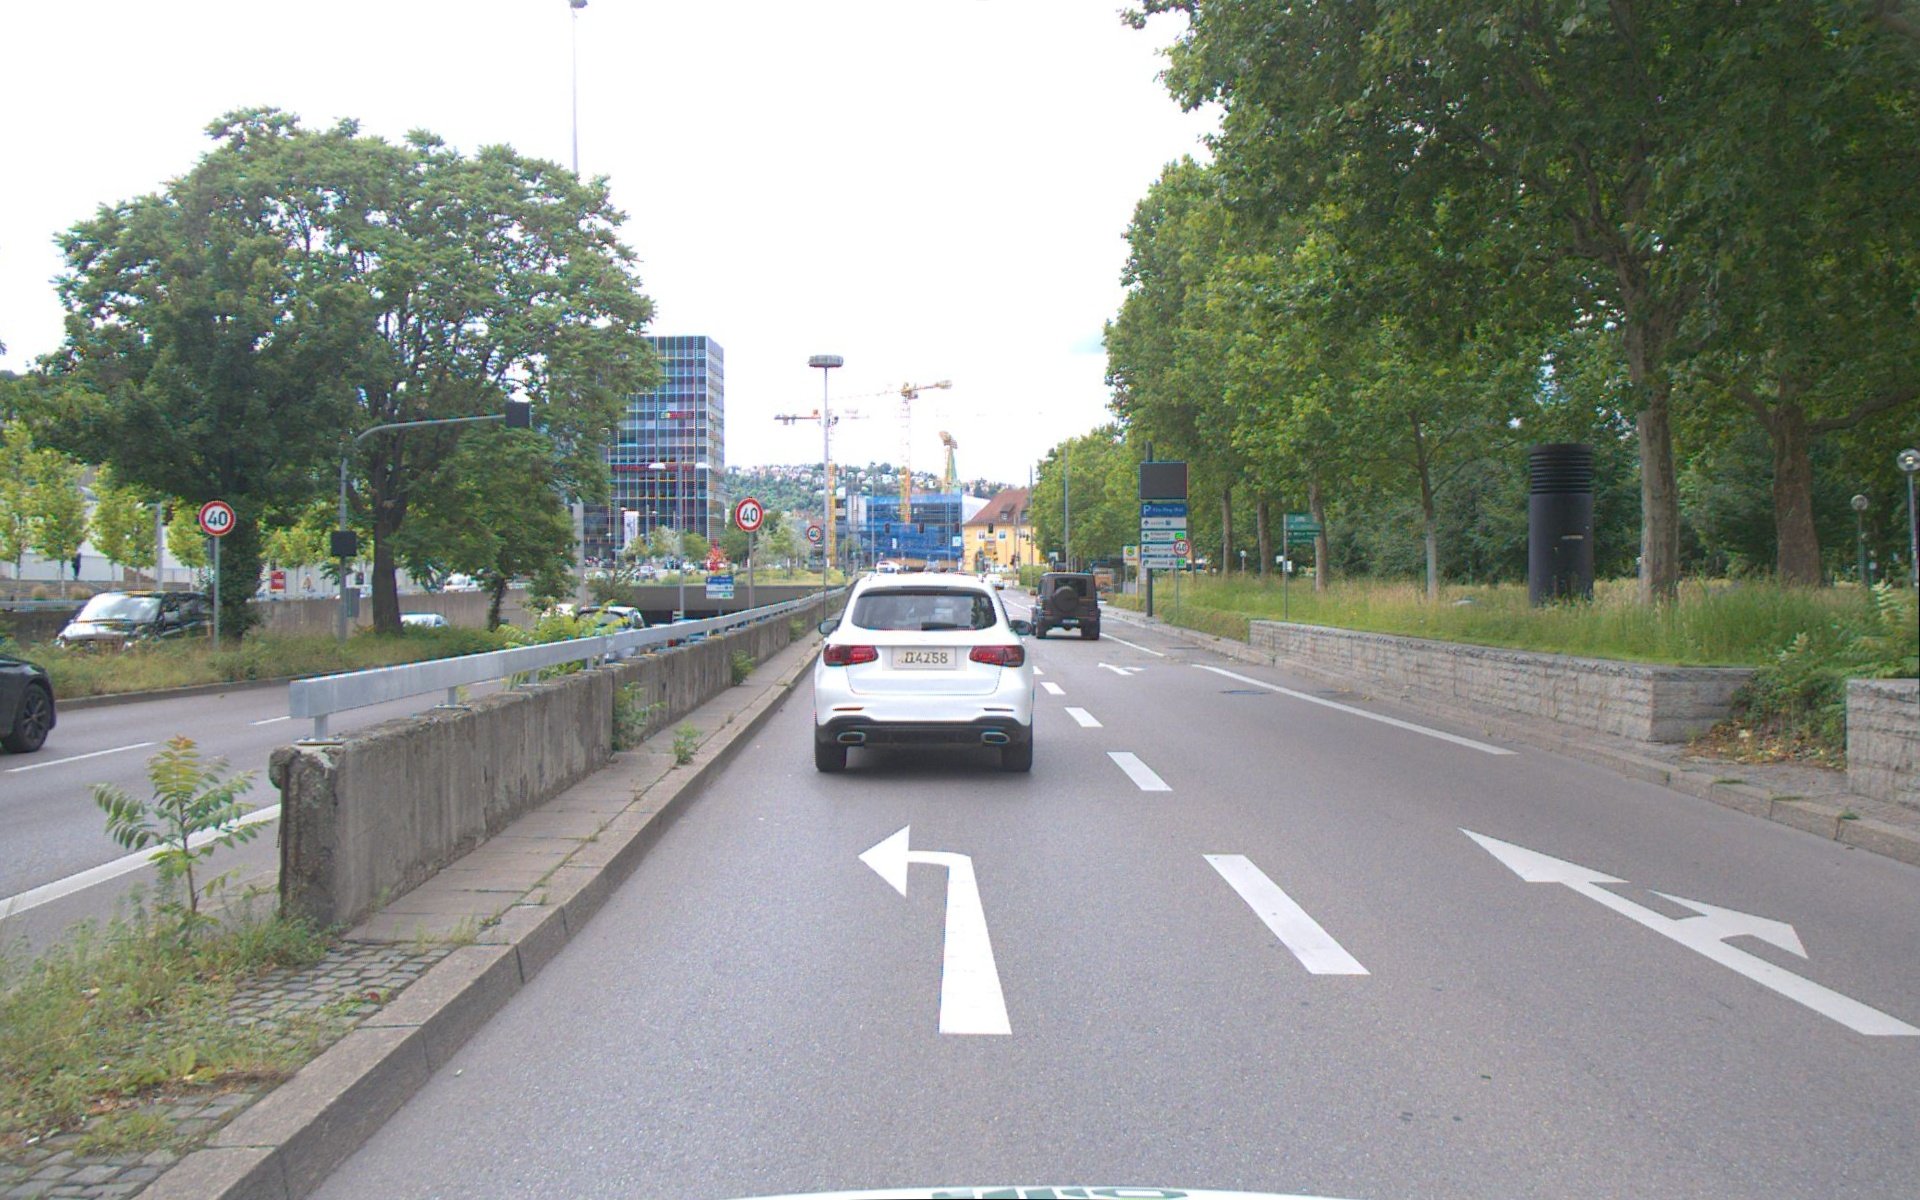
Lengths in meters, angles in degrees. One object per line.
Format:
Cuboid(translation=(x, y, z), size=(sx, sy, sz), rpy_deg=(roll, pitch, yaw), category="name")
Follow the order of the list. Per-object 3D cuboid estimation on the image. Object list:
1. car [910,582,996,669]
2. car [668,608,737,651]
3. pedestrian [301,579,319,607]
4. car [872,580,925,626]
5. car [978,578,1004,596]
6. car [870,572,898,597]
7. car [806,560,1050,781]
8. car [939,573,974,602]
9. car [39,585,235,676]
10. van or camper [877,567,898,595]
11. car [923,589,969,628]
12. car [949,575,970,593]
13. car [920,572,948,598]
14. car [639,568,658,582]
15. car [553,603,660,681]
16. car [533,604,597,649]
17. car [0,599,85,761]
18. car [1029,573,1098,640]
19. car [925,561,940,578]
Cuboid(translation=(-0.195, 0.528, 34.667), size=(1.638, 1.656, 3.998), rpy_deg=(2, -1, -2), category="car")
Cuboid(translation=(-8.858, 0.995, 57.199), size=(1.684, 1.315, 4.000), rpy_deg=(2, 0, 0), category="car")
Cuboid(translation=(-39.578, -0.444, 100.744), size=(0.720, 1.669, 1.004), rpy_deg=(0, 0, -3), category="pedestrian")
Cuboid(translation=(-2.308, 0.104, 61.670), size=(1.884, 1.630, 3.998), rpy_deg=(1, 0, -3), category="car")
Cuboid(translation=(2.972, -1.240, 158.286), size=(1.956, 1.646, 3.994), rpy_deg=(2, -1, -7), category="car")
Cuboid(translation=(-5.864, -1.185, 128.107), size=(1.953, 1.787, 3.999), rpy_deg=(2, -1, -1), category="car")
Cuboid(translation=(-0.349, 0.563, 14.965), size=(1.902, 1.713, 3.997), rpy_deg=(-1, 0, -3), category="car")
Cuboid(translation=(-0.236, -0.760, 104.778), size=(1.954, 1.691, 3.998), rpy_deg=(2, -1, -3), category="car")
Cuboid(translation=(-17.087, 0.584, 34.605), size=(1.819, 1.747, 4.446), rpy_deg=(-1, 0, 1), category="car")
Cuboid(translation=(-6.596, -1.724, 150.177), size=(1.884, 2.360, 3.997), rpy_deg=(1, -1, -3), category="van or camper")
Cuboid(translation=(-0.642, 0.369, 73.146), size=(1.884, 1.630, 3.998), rpy_deg=(1, 0, -3), category="car")
Cuboid(translation=(-0.079, -1.542, 157.991), size=(1.685, 1.612, 3.997), rpy_deg=(2, 0, -4), category="car")
Cuboid(translation=(-1.979, -1.139, 124.245), size=(1.954, 1.812, 3.997), rpy_deg=(2, -1, -3), category="car")
Cuboid(translation=(-35.799, -2.885, 190.087), size=(1.798, 1.384, 3.862), rpy_deg=(2, -1, -8), category="car")
Cuboid(translation=(-7.431, 0.869, 35.017), size=(1.595, 1.535, 3.538), rpy_deg=(1, -1, -2), category="car")
Cuboid(translation=(-20.180, 1.329, 84.715), size=(1.935, 2.203, 6.209), rpy_deg=(1, -1, -2), category="car")
Cuboid(translation=(-9.652, 0.706, 14.299), size=(1.776, 1.486, 4.859), rpy_deg=(1, -1, -3), category="car")
Cuboid(translation=(3.179, 0.228, 51.523), size=(1.936, 1.926, 4.708), rpy_deg=(2, -1, 2), category="car")
Cuboid(translation=(-3.706, -4.110, 223.288), size=(1.764, 2.049, 3.997), rpy_deg=(2, -1, -3), category="car")
